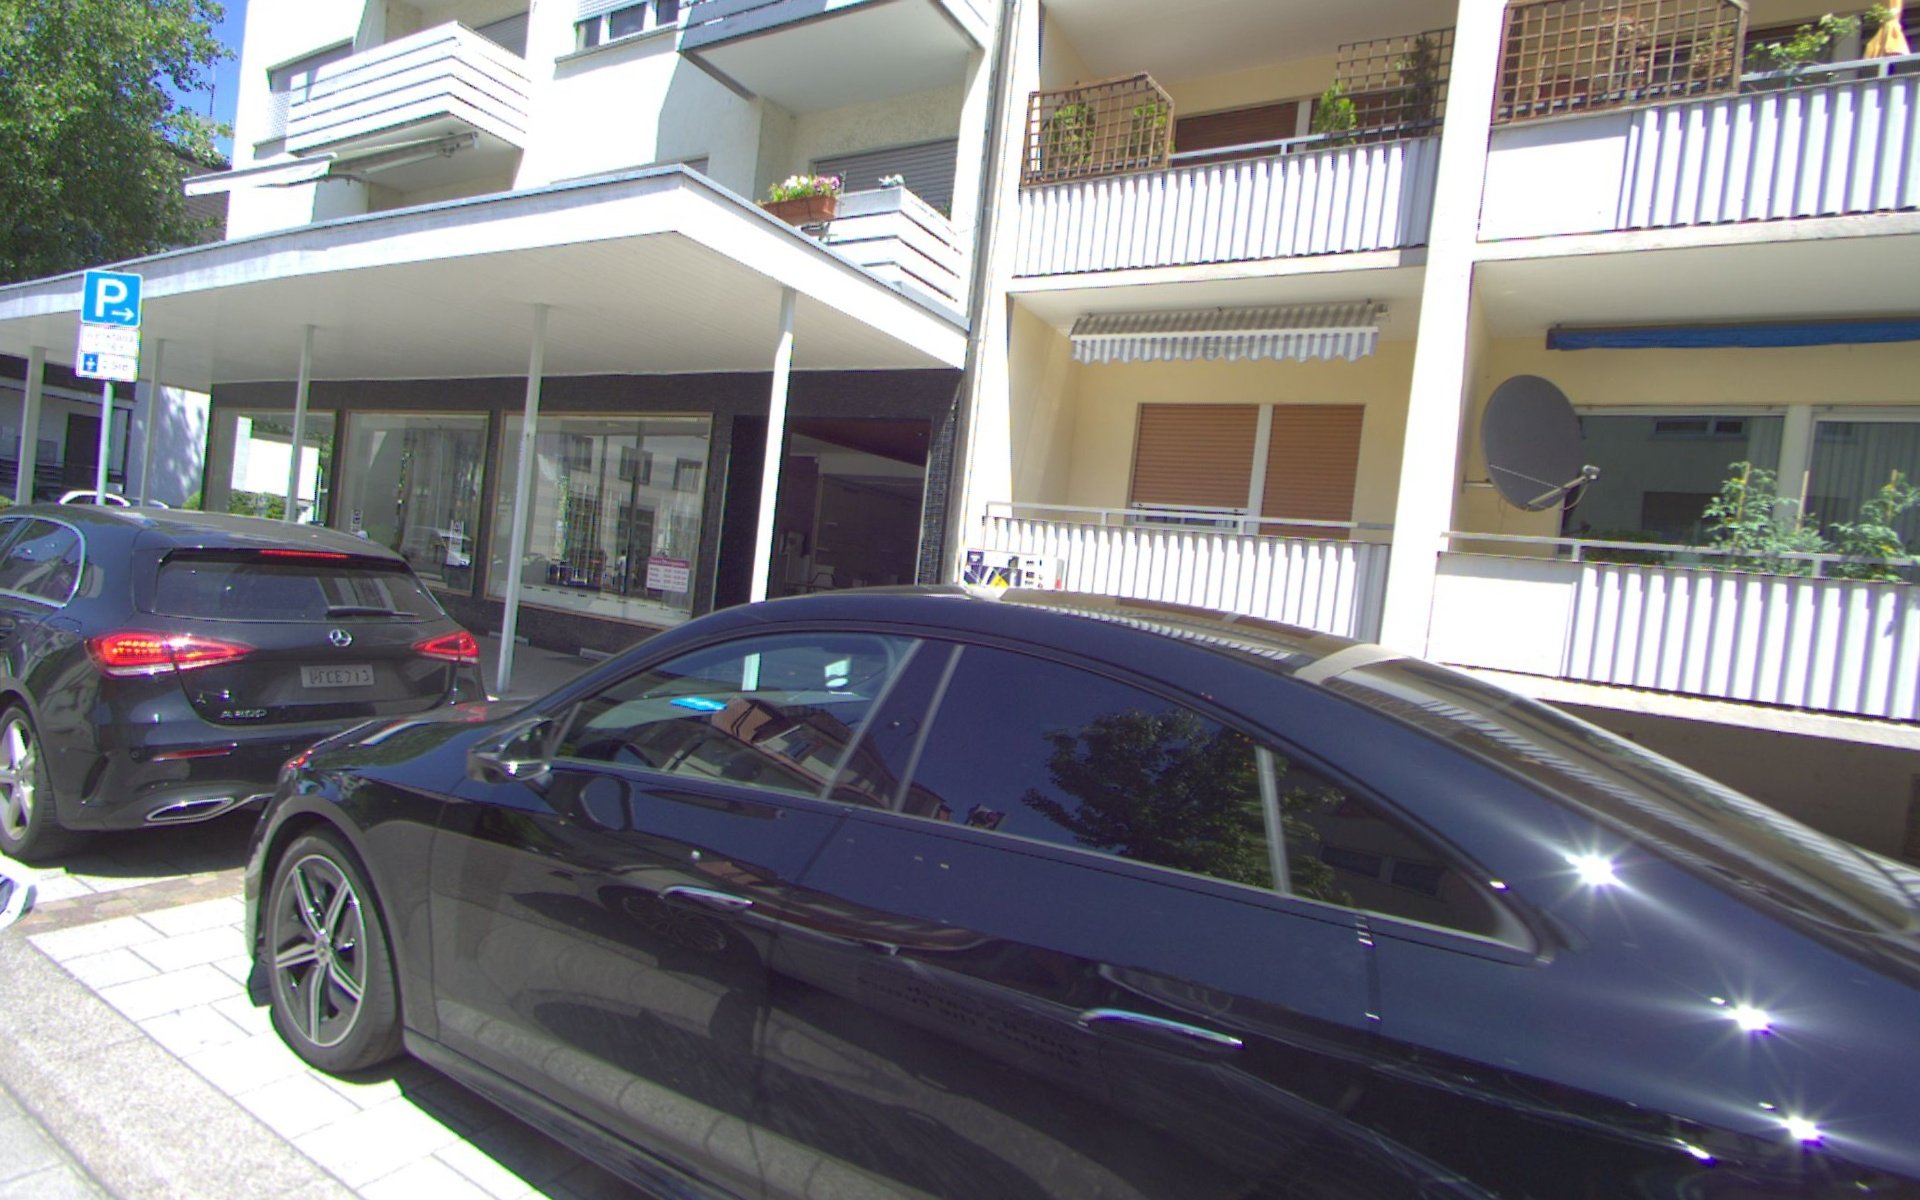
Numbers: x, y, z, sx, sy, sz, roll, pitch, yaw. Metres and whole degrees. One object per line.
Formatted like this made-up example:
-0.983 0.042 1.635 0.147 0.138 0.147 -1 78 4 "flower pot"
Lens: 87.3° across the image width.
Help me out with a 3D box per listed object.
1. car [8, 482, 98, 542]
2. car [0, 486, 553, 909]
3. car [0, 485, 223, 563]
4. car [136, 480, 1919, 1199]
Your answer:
-26.619 -2.597 29.566 1.835 1.473 3.952 3 3 -42 "car"
-4.284 0.207 5.308 4.094 1.433 1.845 6 1 32 "car"
-20.542 -1.815 24.451 3.924 1.473 1.848 5 2 4 "car"
-0.089 0.637 2.698 4.493 1.550 1.895 6 1 32 "car"
